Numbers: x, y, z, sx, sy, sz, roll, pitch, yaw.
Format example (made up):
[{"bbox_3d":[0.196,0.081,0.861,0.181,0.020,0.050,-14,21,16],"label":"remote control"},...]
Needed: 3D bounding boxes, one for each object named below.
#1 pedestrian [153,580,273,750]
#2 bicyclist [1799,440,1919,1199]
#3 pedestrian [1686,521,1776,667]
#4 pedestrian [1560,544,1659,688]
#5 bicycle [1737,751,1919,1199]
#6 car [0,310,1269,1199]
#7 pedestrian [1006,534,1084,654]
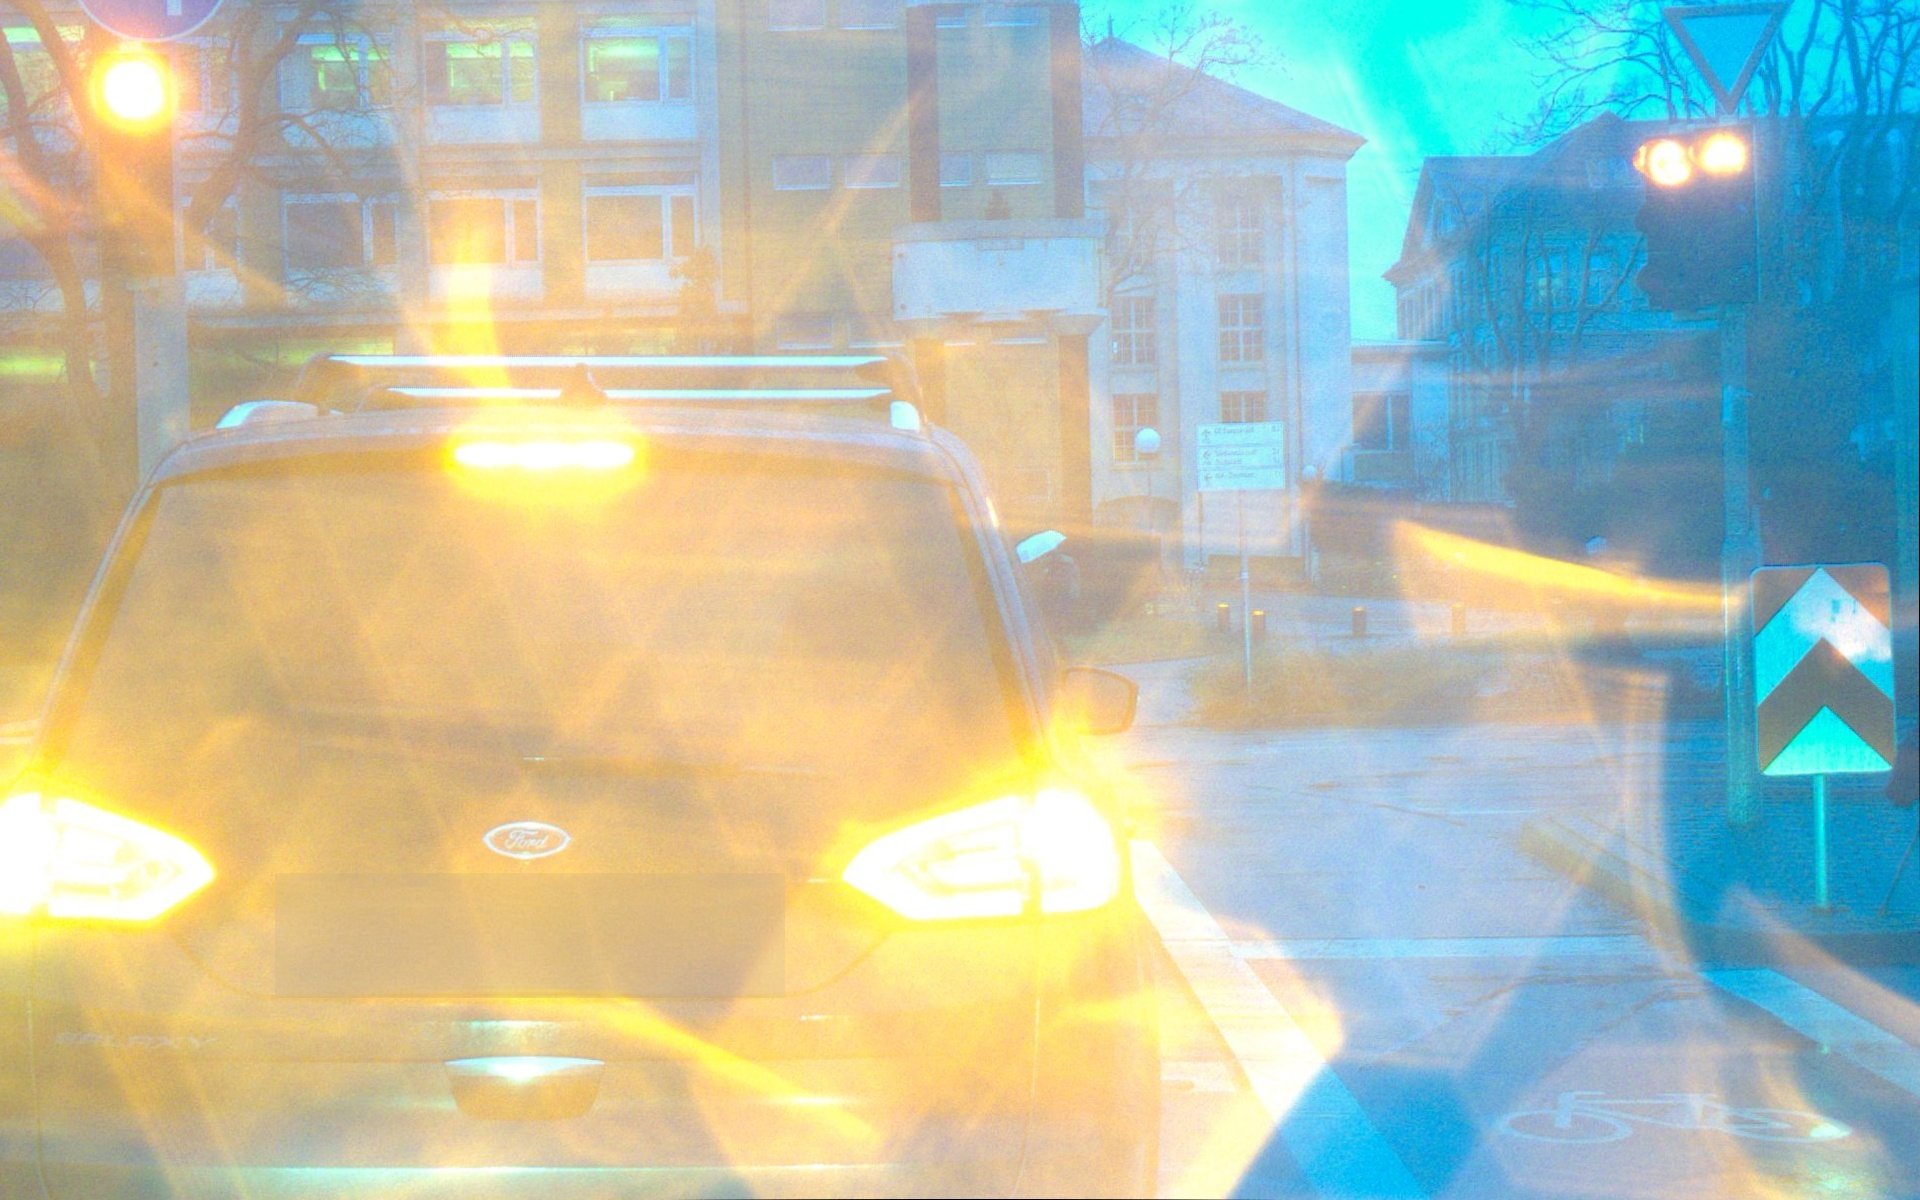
[{"bbox_3d":[-8.937,0.769,41.134,0.929,1.971,0.958,-1,2,34],"label":"pedestrian"},{"bbox_3d":[2.068,0.445,6.238,0.783,1.448,1.134,1,0,-1],"label":"bicyclist"},{"bbox_3d":[9.793,-0.084,43.678,0.997,1.793,0.919,-2,1,9],"label":"pedestrian"},{"bbox_3d":[8.003,0.190,42.396,1.136,1.714,0.981,-2,1,10],"label":"pedestrian"},{"bbox_3d":[2.044,0.869,6.263,0.783,1.071,1.957,1,1,-1],"label":"bicycle"},{"bbox_3d":[-0.621,0.497,6.565,1.993,1.783,4.000,1,1,-1],"label":"car"},{"bbox_3d":[1.178,-0.089,47.647,0.759,1.622,0.721,-3,1,-30],"label":"pedestrian"}]
